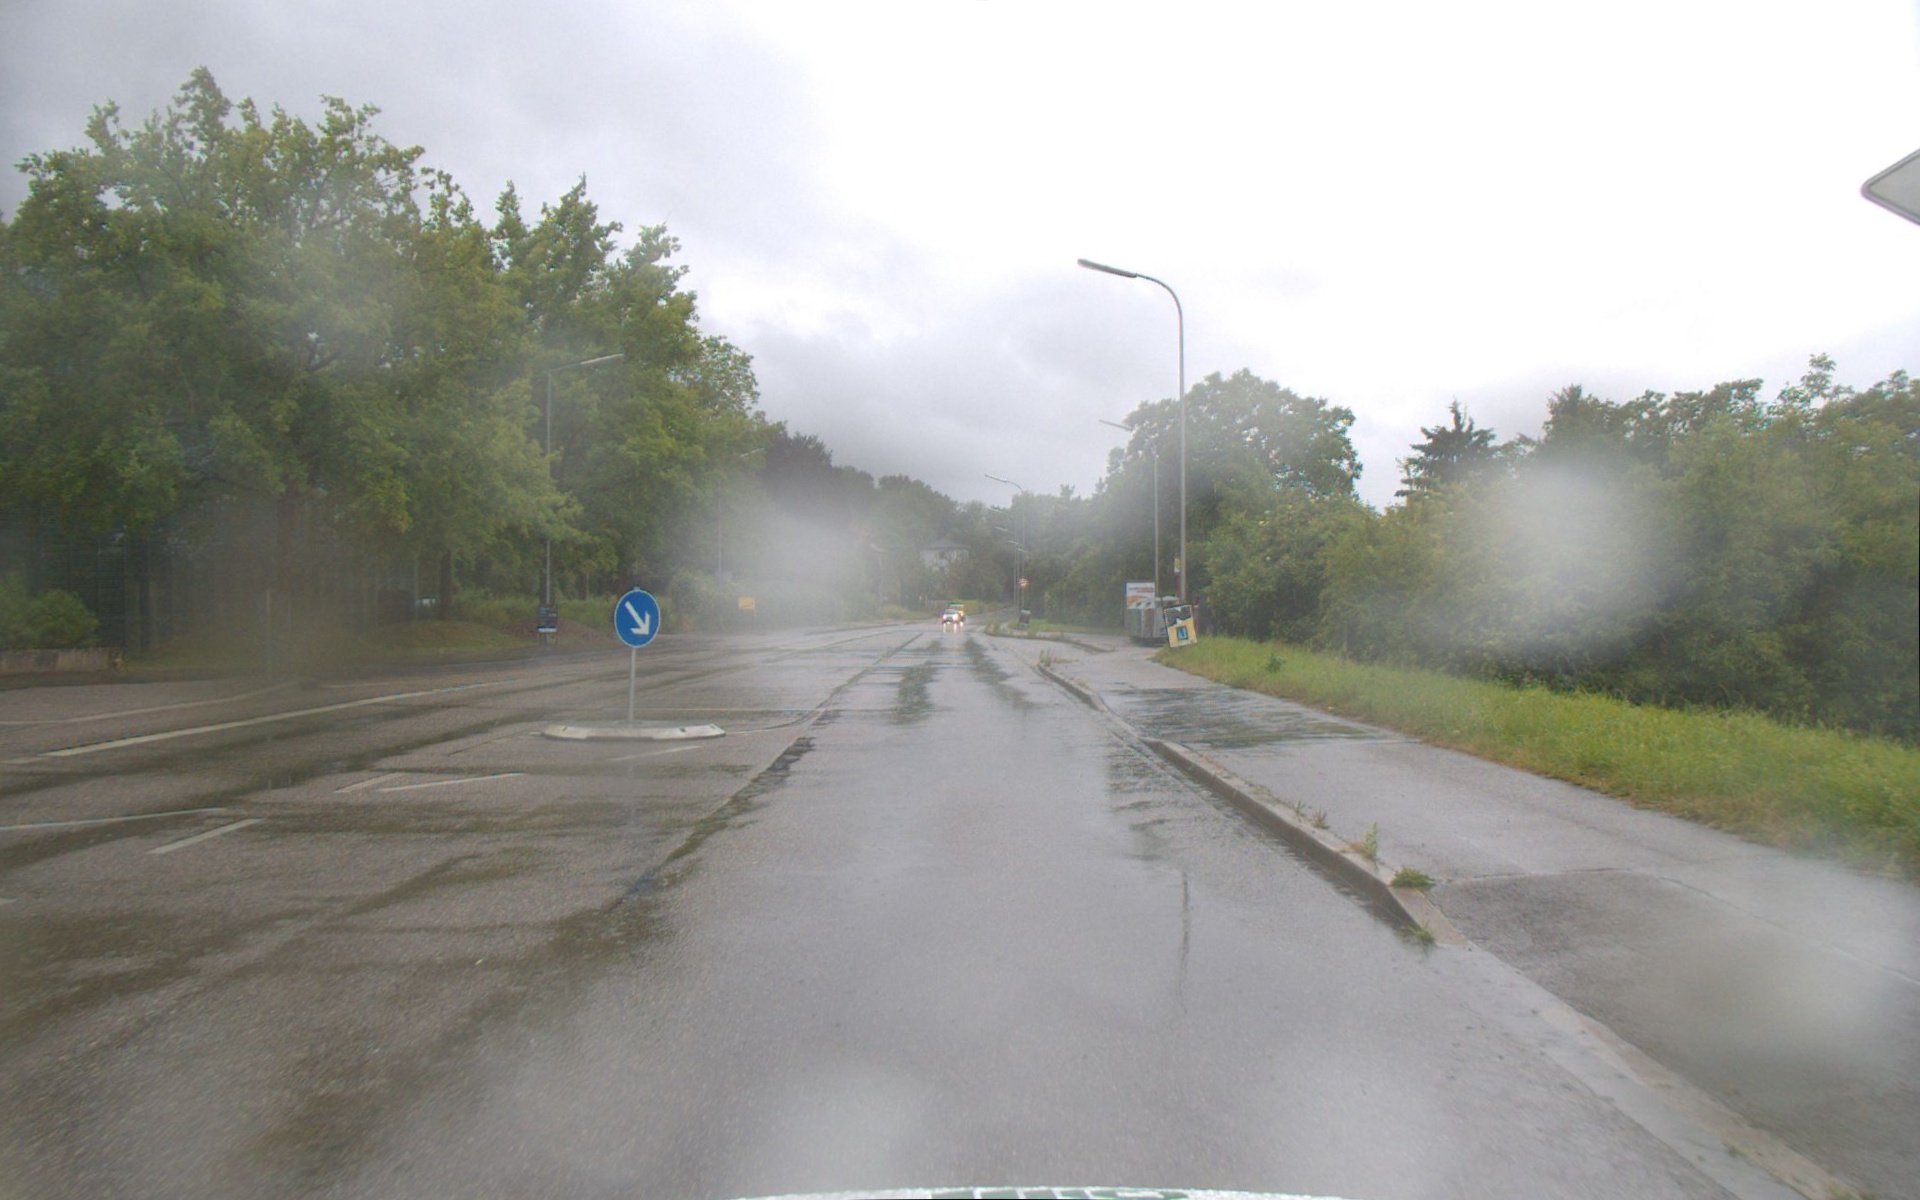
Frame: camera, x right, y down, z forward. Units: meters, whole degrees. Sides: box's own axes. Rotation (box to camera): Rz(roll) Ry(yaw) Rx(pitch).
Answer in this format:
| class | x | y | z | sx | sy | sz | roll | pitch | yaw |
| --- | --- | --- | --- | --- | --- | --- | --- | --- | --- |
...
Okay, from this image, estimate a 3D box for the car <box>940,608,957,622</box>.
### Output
| class | x | y | z | sx | sy | sz | roll | pitch | yaw |
| --- | --- | --- | --- | --- | --- | --- | --- | --- | --- |
| car | -1.201 | 1.516 | 170.151 | 1.666 | 1.373 | 3.905 | 0 | 0 | 1 |
